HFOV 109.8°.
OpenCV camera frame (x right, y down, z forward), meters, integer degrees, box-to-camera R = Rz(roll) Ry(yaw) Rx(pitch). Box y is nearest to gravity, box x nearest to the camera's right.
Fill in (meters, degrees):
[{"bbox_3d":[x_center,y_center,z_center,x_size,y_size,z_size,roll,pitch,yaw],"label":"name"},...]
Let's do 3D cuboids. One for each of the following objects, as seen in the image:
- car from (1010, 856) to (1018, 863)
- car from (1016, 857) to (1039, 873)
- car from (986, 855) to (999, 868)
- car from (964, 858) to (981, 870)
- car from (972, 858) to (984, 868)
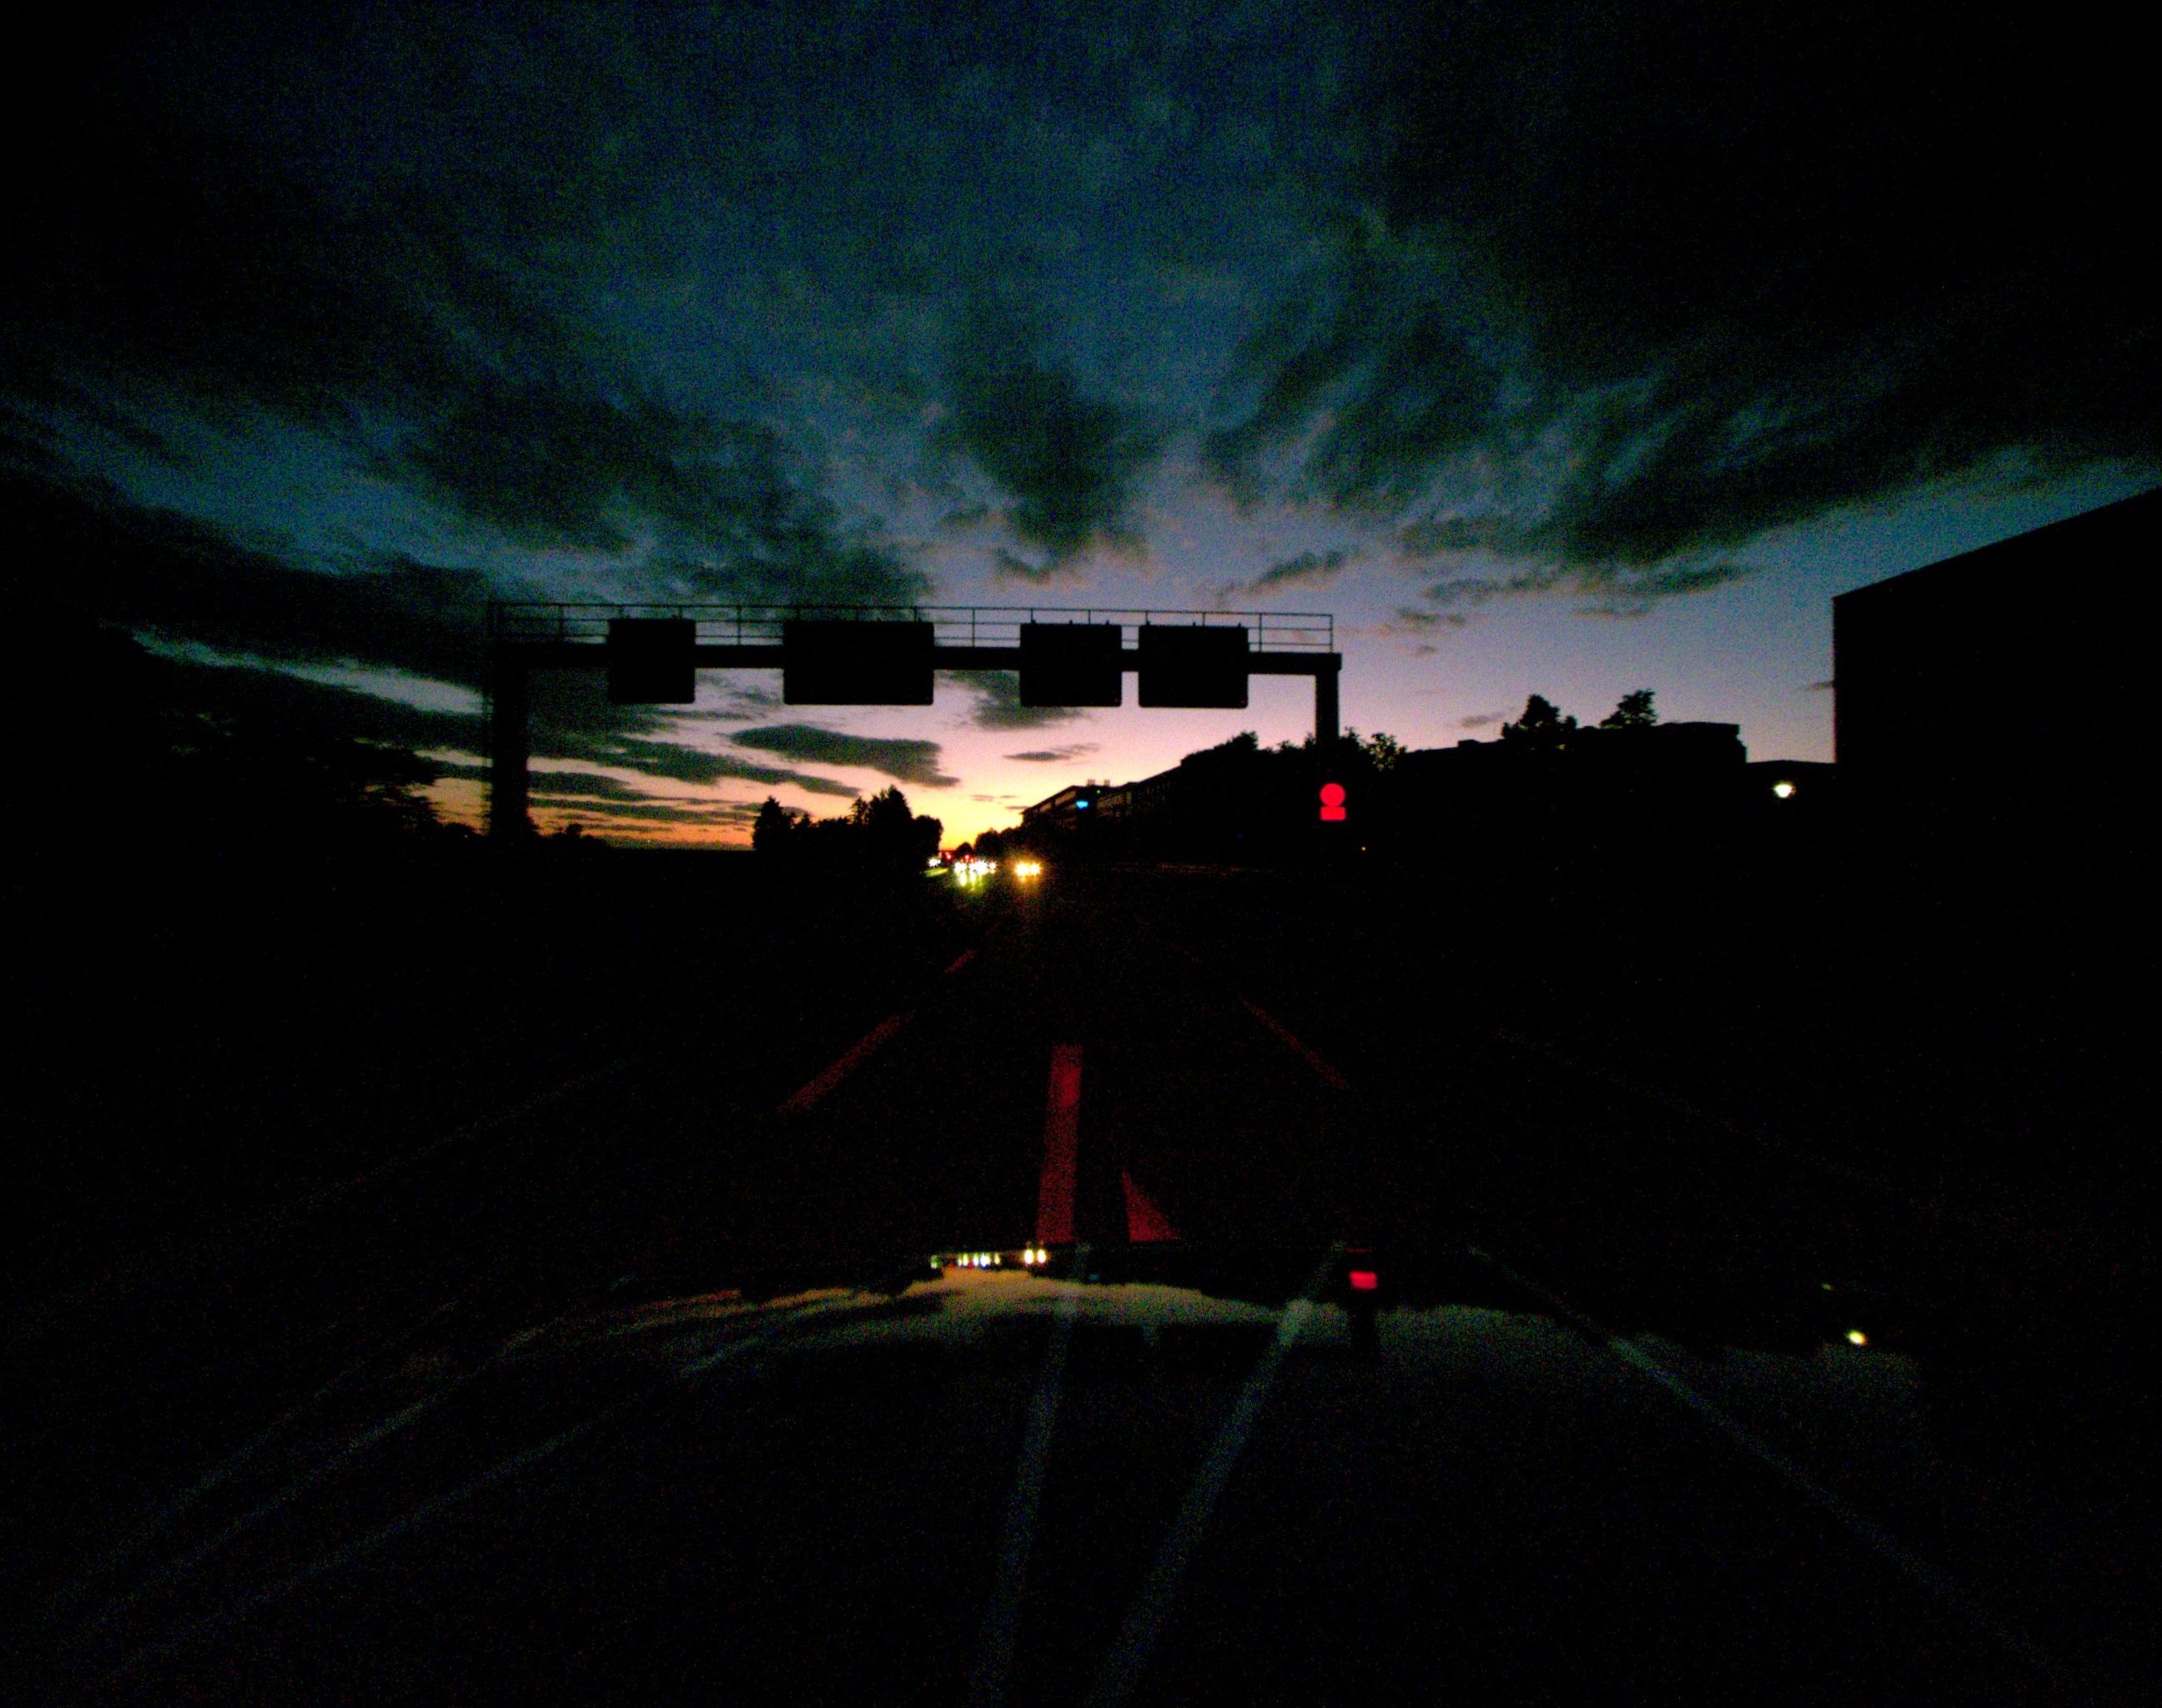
[{"bbox_3d":[-17.351,1.451,196.761,1.707,1.613,4.303,-1,0,-10],"label":"car"},{"bbox_3d":[-5.087,1.044,71.958,1.757,1.447,3.800,-3,0,-9],"label":"car"},{"bbox_3d":[-14.469,1.276,124.475,1.862,2.002,3.998,-3,0,-5],"label":"car"},{"bbox_3d":[-15.210,1.410,106.814,1.999,1.574,3.998,-2,0,-4],"label":"car"},{"bbox_3d":[-18.720,1.619,138.124,1.834,1.739,3.847,-3,0,-9],"label":"car"}]
